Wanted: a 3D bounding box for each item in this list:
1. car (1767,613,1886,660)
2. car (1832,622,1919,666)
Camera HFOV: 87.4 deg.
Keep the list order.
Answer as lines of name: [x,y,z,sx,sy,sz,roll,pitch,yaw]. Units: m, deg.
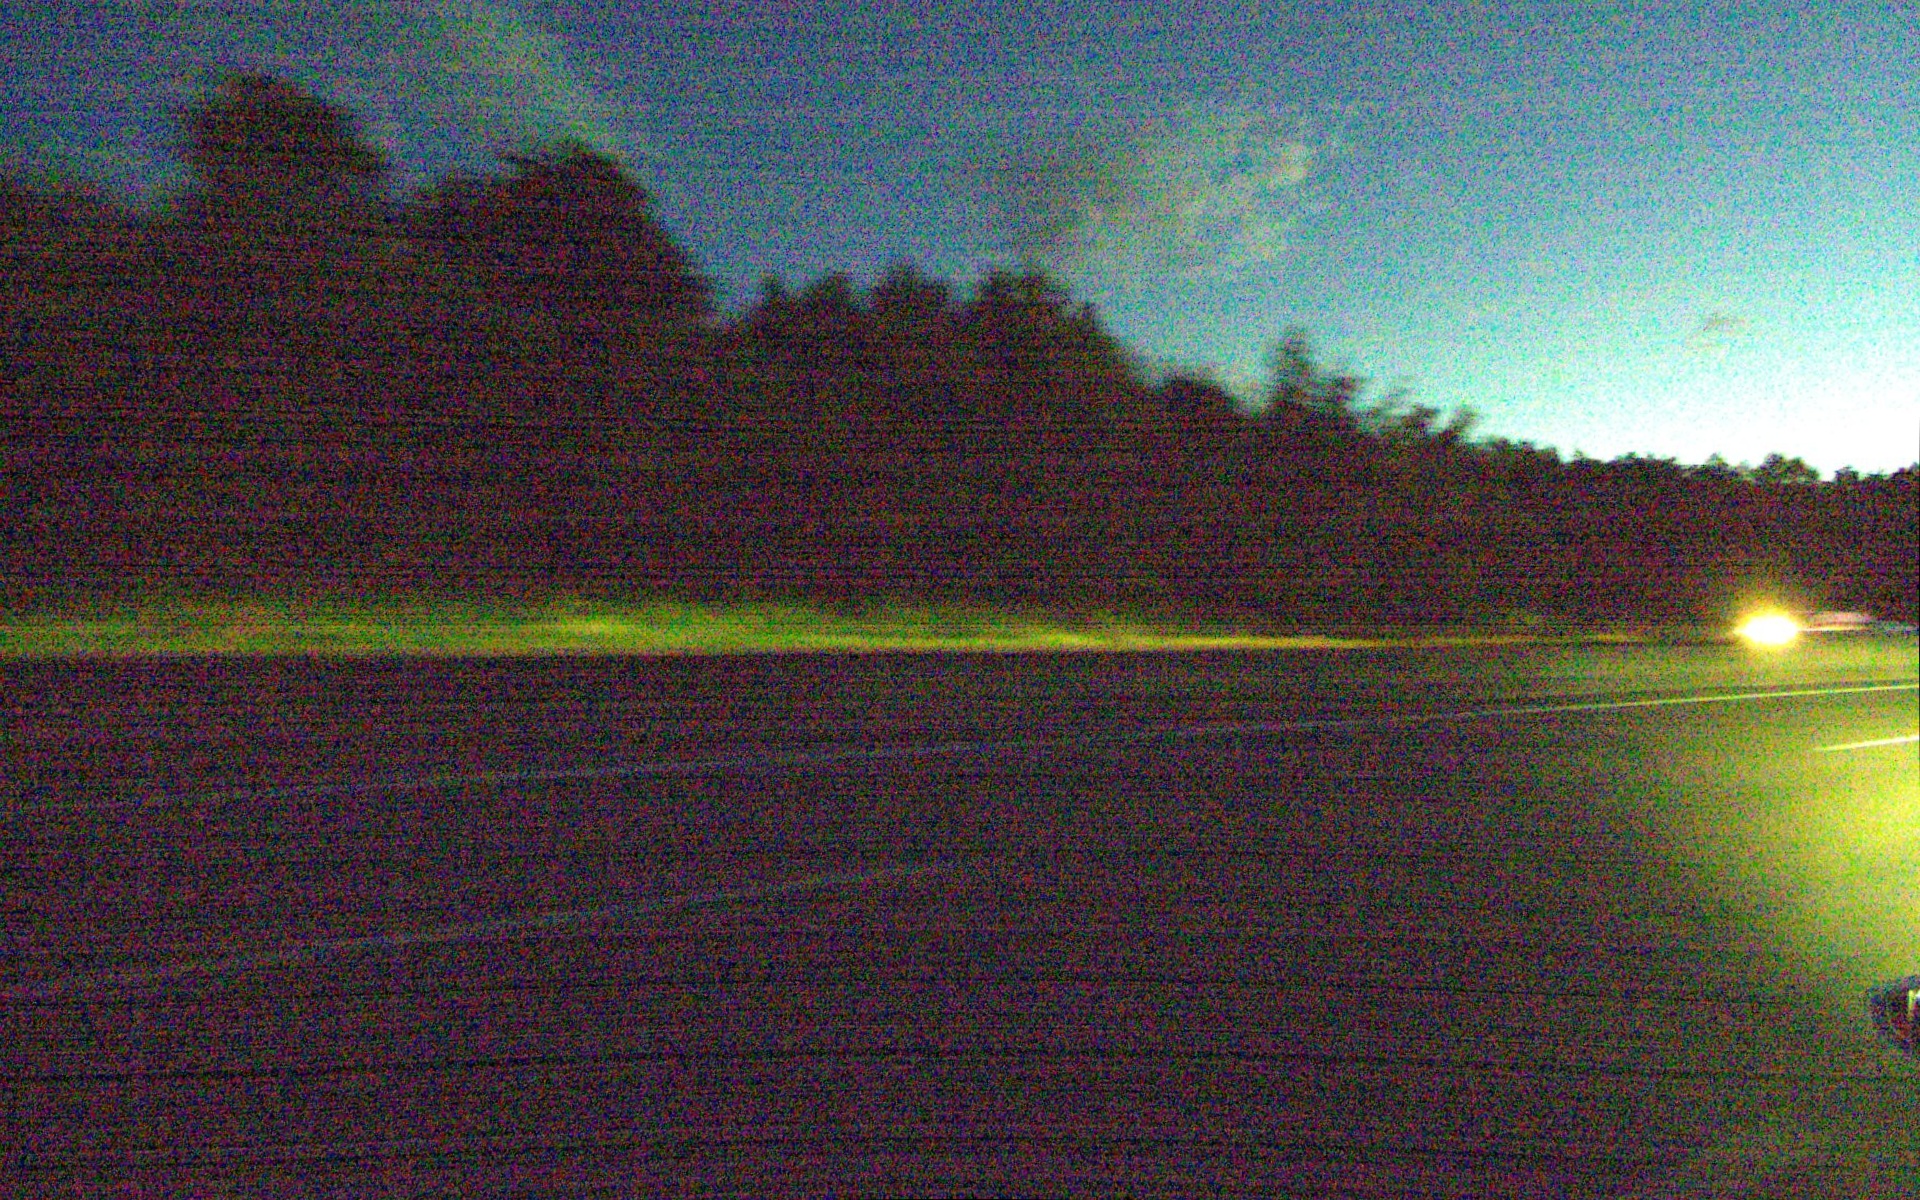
car: [36.172,1.545,41.895,5.619,1.845,1.985,2,-1,-30]
car: [34.247,1.625,37.056,4.224,1.525,1.894,2,-1,-30]
